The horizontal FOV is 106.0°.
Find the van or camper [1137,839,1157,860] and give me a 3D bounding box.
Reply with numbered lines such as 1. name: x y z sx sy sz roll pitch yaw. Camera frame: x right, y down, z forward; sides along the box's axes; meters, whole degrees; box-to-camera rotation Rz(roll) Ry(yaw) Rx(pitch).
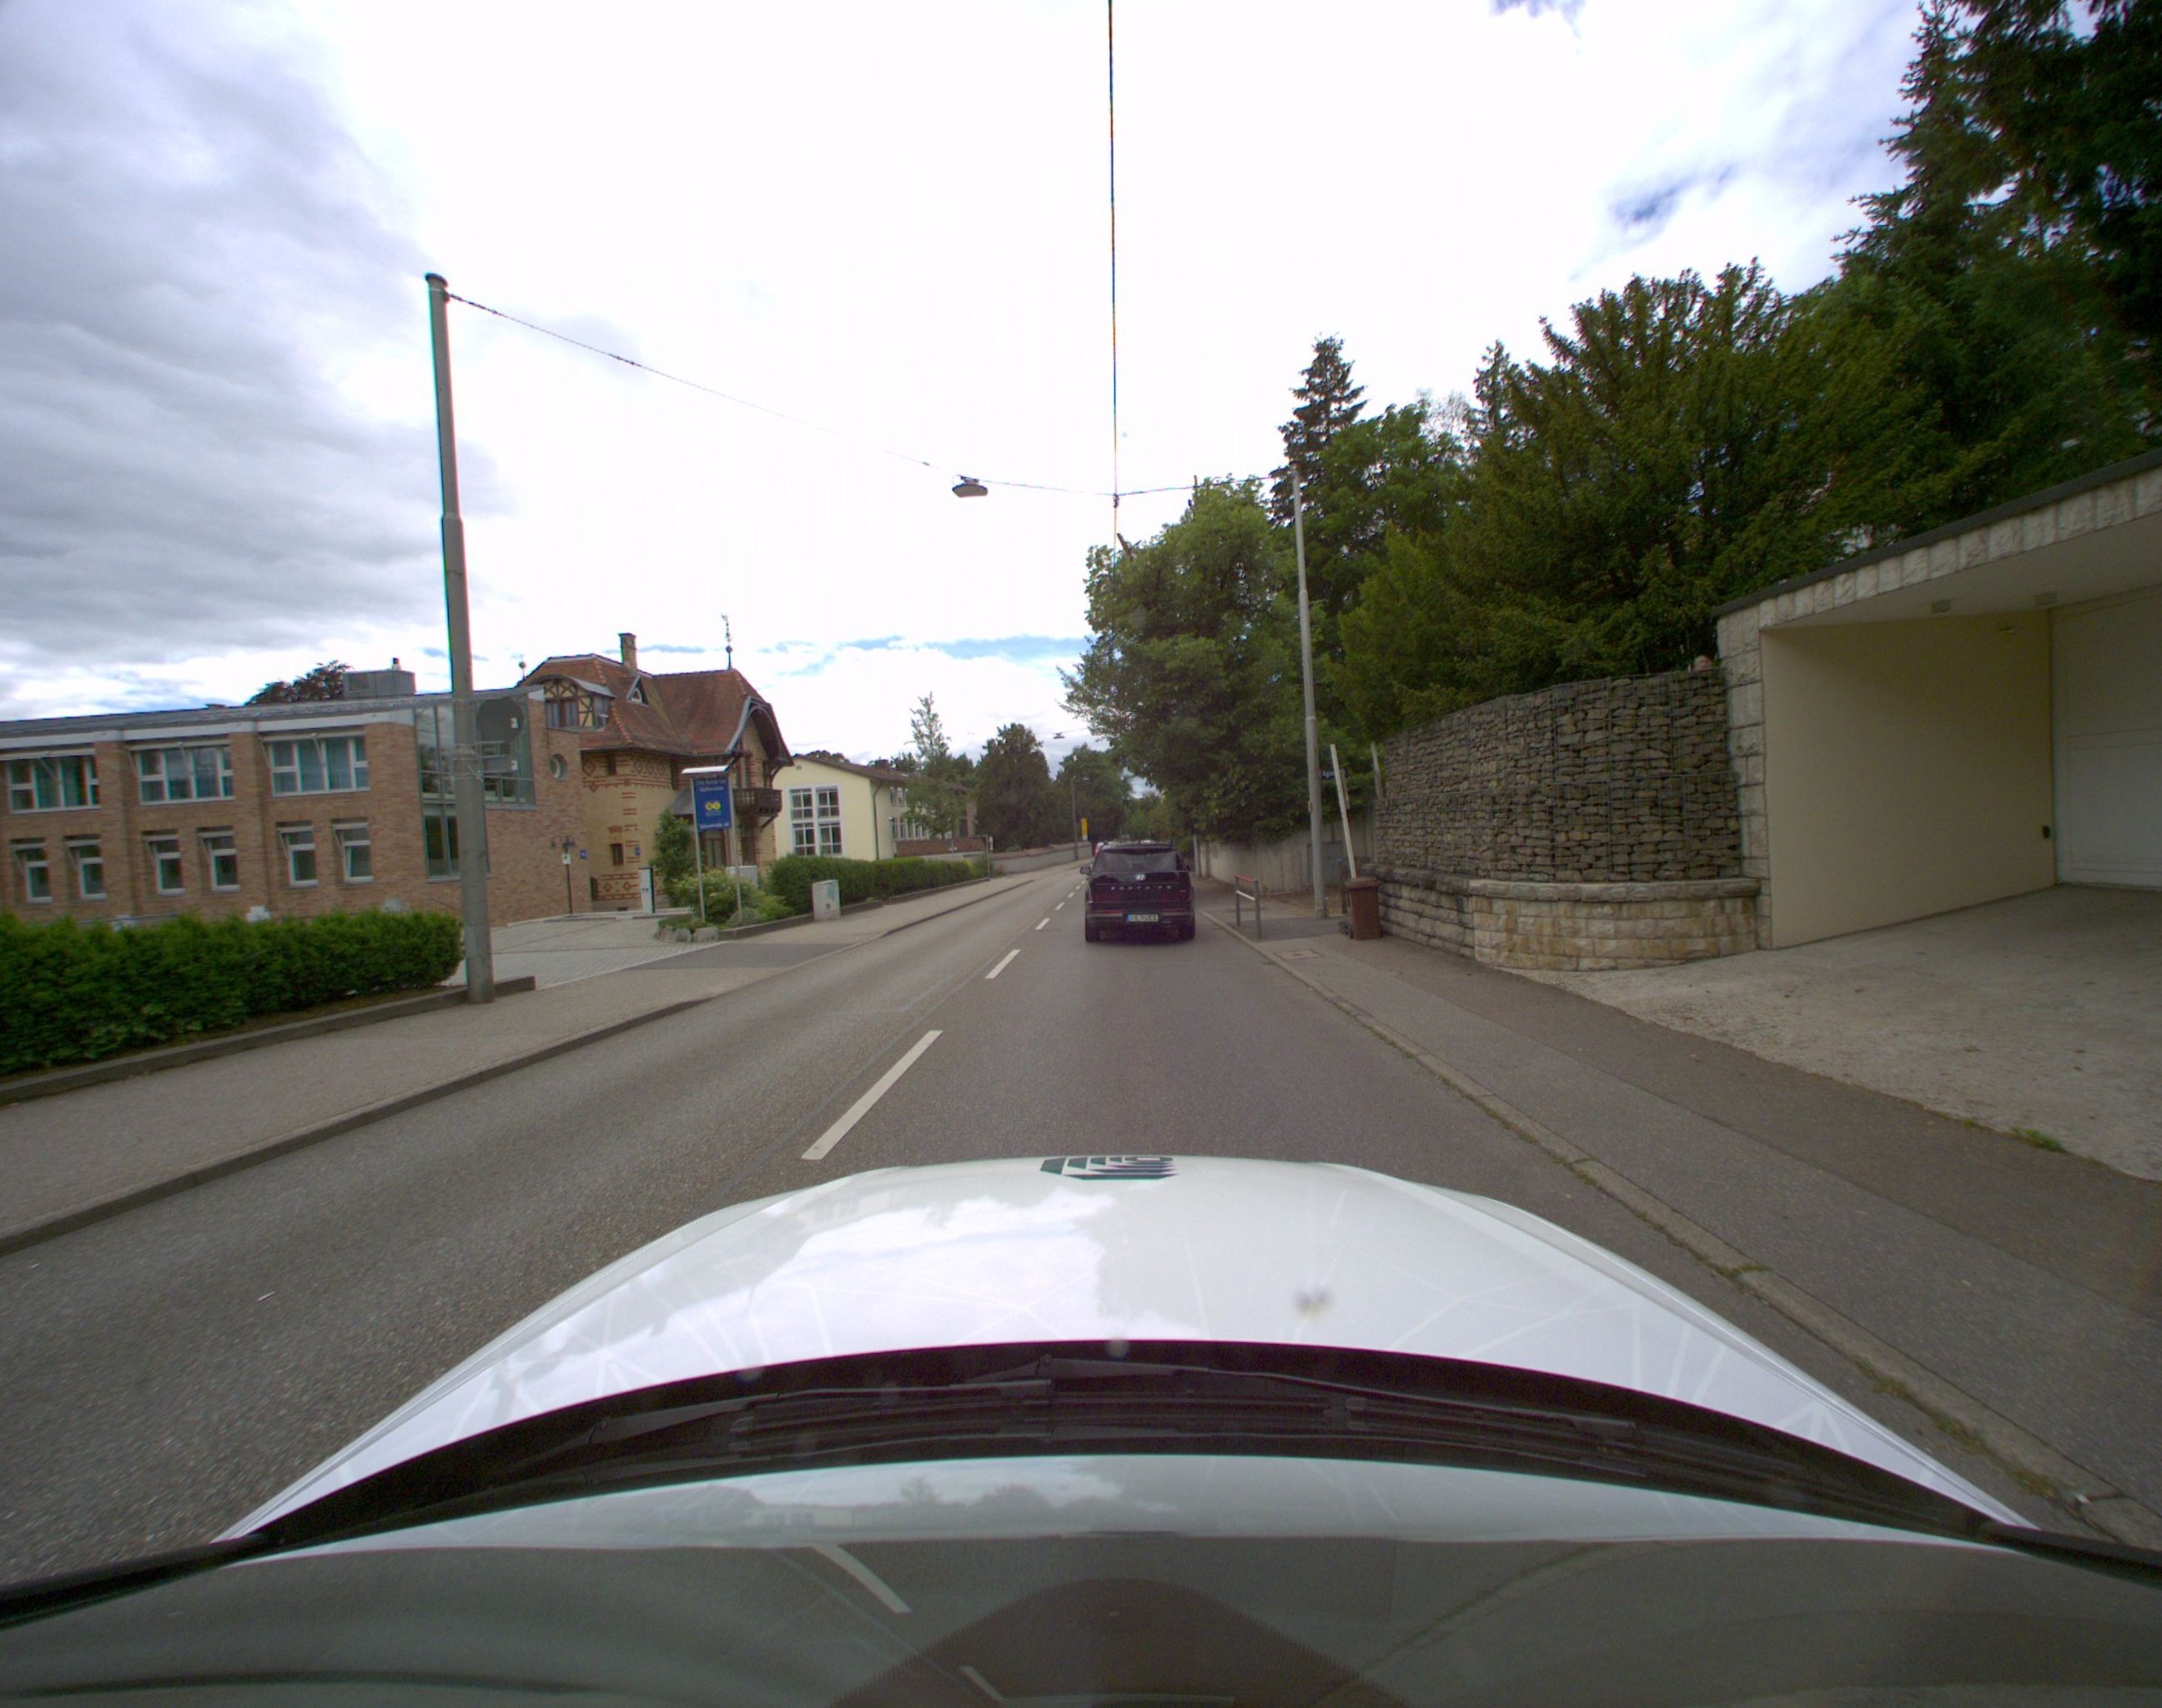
1. van or camper: 7.212 -0.499 88.462 1.665 2.007 3.950 -4 2 10

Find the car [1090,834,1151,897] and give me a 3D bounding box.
1. car: 1.366 0.328 28.491 1.949 1.955 4.227 -1 2 2

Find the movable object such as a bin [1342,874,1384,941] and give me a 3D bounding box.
1. movable object such as a bin: 4.160 0.787 12.043 0.442 0.910 0.395 -7 -1 11

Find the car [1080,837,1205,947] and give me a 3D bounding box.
1. car: 1.067 0.579 15.019 1.949 1.713 4.226 -1 1 2
